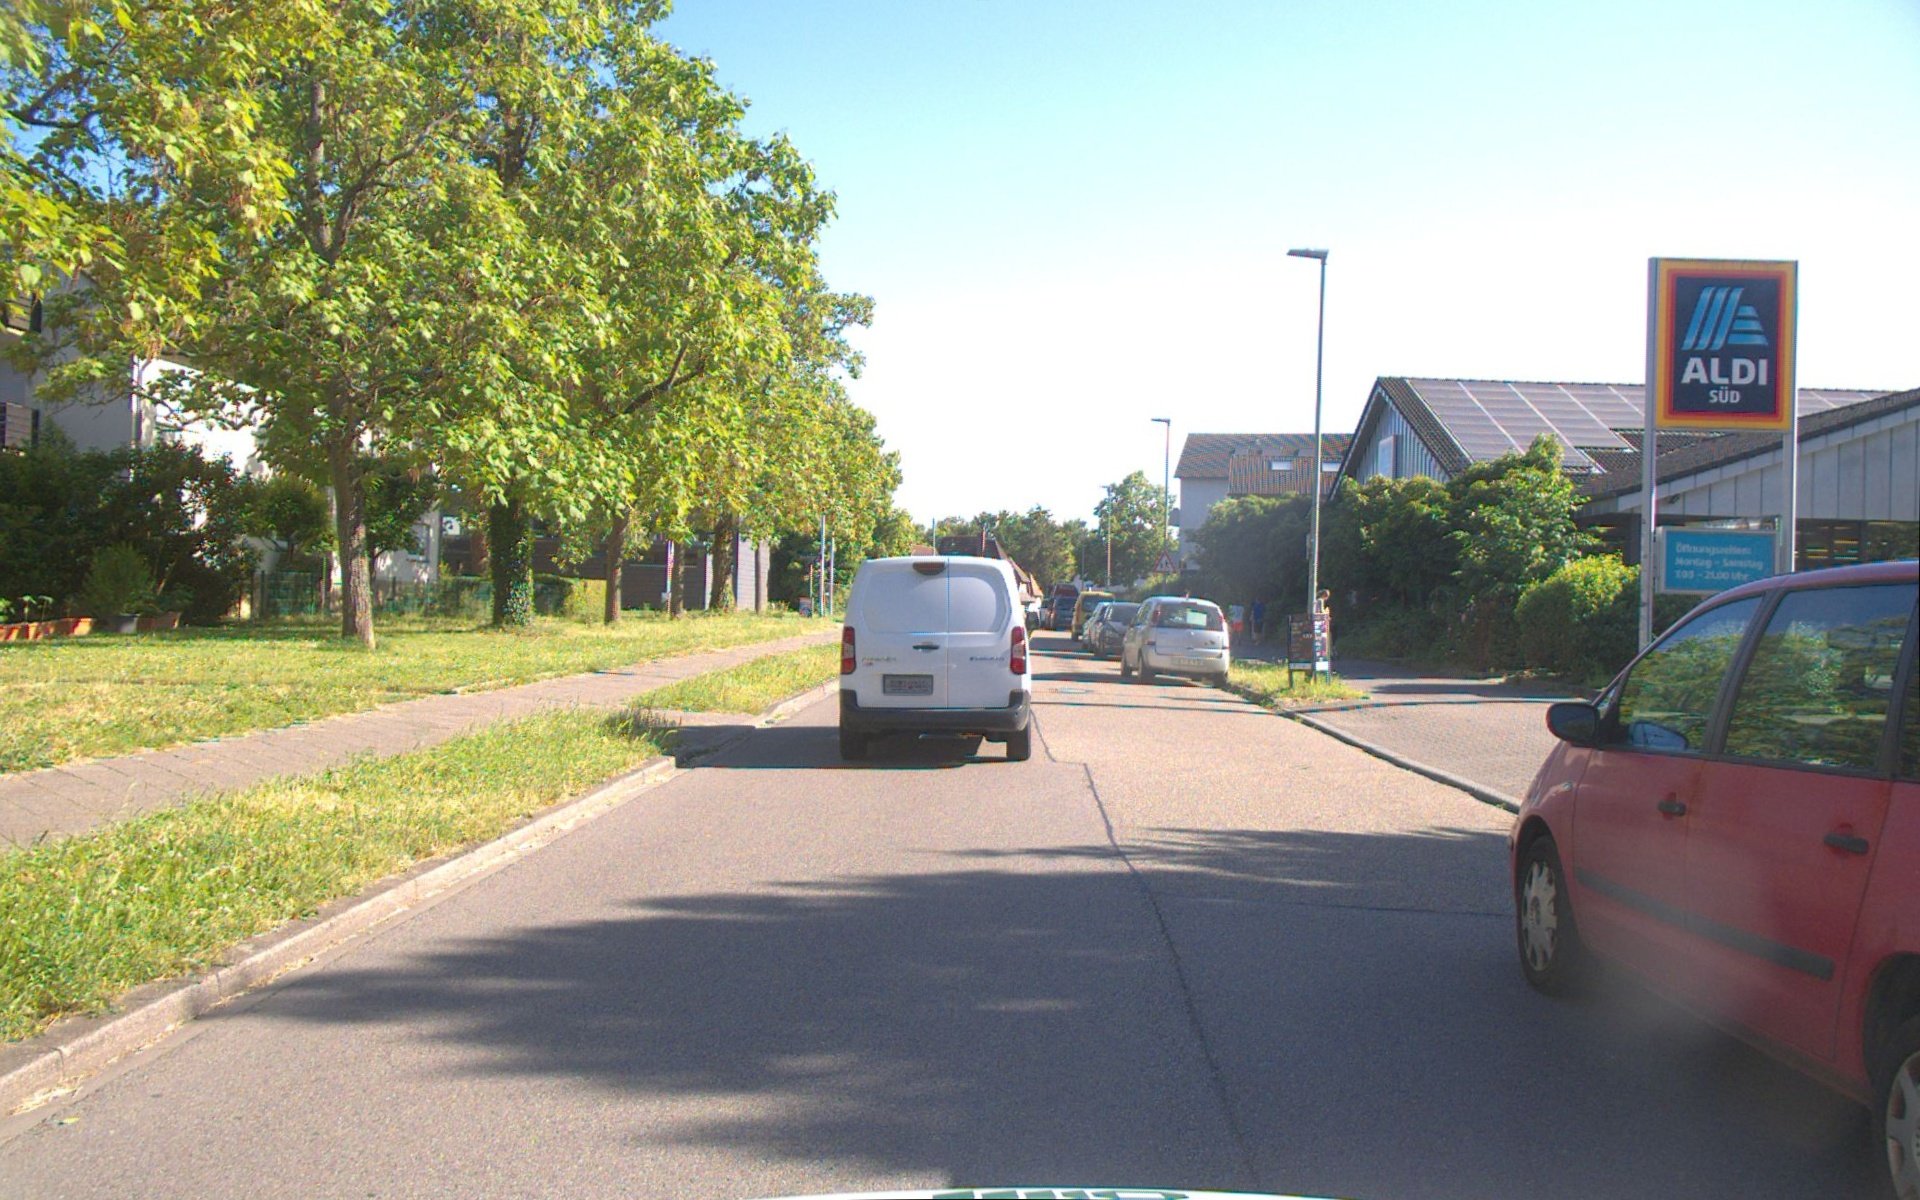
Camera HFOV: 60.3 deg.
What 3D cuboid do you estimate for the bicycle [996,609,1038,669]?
[{"bbox_3d":[1.152,0.783,33.978,0.770,1.158,2.279,1,0,0],"label":"bicycle"}]

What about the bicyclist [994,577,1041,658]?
[{"bbox_3d":[1.171,0.367,34.050,0.887,1.612,0.966,2,-1,0],"label":"bicyclist"}]

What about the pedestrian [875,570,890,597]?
[{"bbox_3d":[-4.185,-0.891,88.958,0.501,1.471,0.637,1,0,35],"label":"pedestrian"}]

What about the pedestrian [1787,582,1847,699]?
[{"bbox_3d":[12.445,0.577,24.033,0.677,1.660,0.776,1,0,23],"label":"pedestrian"}]

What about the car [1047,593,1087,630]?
[{"bbox_3d":[5.651,0.644,87.545,1.767,1.816,4.000,4,-1,0],"label":"car"}]

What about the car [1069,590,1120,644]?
[{"bbox_3d":[4.932,0.619,60.889,1.688,1.869,4.001,2,0,3],"label":"car"}]

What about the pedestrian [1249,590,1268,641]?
[{"bbox_3d":[9.781,0.504,54.247,0.555,1.665,0.547,1,0,7],"label":"pedestrian"}]

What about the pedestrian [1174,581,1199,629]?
[{"bbox_3d":[9.237,0.206,67.480,0.778,1.894,0.873,2,0,-6],"label":"pedestrian"}]

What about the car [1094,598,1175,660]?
[{"bbox_3d":[4.504,0.717,43.299,1.770,1.468,4.364,2,0,2],"label":"car"}]

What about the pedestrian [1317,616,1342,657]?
[{"bbox_3d":[9.237,0.902,41.368,0.521,0.997,0.811,2,0,9],"label":"pedestrian"}]

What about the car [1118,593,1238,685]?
[{"bbox_3d":[4.164,0.728,32.086,1.646,1.627,4.026,2,0,-2],"label":"car"}]

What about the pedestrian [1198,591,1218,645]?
[{"bbox_3d":[7.784,0.552,51.927,0.555,1.665,0.547,1,0,7],"label":"pedestrian"}]

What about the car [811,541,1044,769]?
[{"bbox_3d":[-0.176,0.464,16.388,1.952,1.914,4.290,1,0,3],"label":"car"}]

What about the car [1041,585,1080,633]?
[{"bbox_3d":[5.714,0.544,94.804,1.828,2.607,4.767,4,-1,0],"label":"car"}]

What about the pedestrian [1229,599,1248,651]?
[{"bbox_3d":[9.134,0.815,54.297,0.555,1.665,0.547,1,0,7],"label":"pedestrian"}]

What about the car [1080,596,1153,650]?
[{"bbox_3d":[4.632,0.675,49.415,1.789,1.477,4.000,2,0,0],"label":"car"}]

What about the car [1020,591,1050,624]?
[{"bbox_3d":[5.131,0.567,113.704,1.767,2.105,4.000,4,-1,0],"label":"car"}]

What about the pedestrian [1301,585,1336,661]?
[{"bbox_3d":[8.789,0.559,40.559,0.781,1.813,0.809,1,0,10],"label":"pedestrian"}]

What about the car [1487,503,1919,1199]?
[{"bbox_3d":[3.212,0.704,5.049,1.802,1.837,4.654,1,0,1],"label":"car"}]
